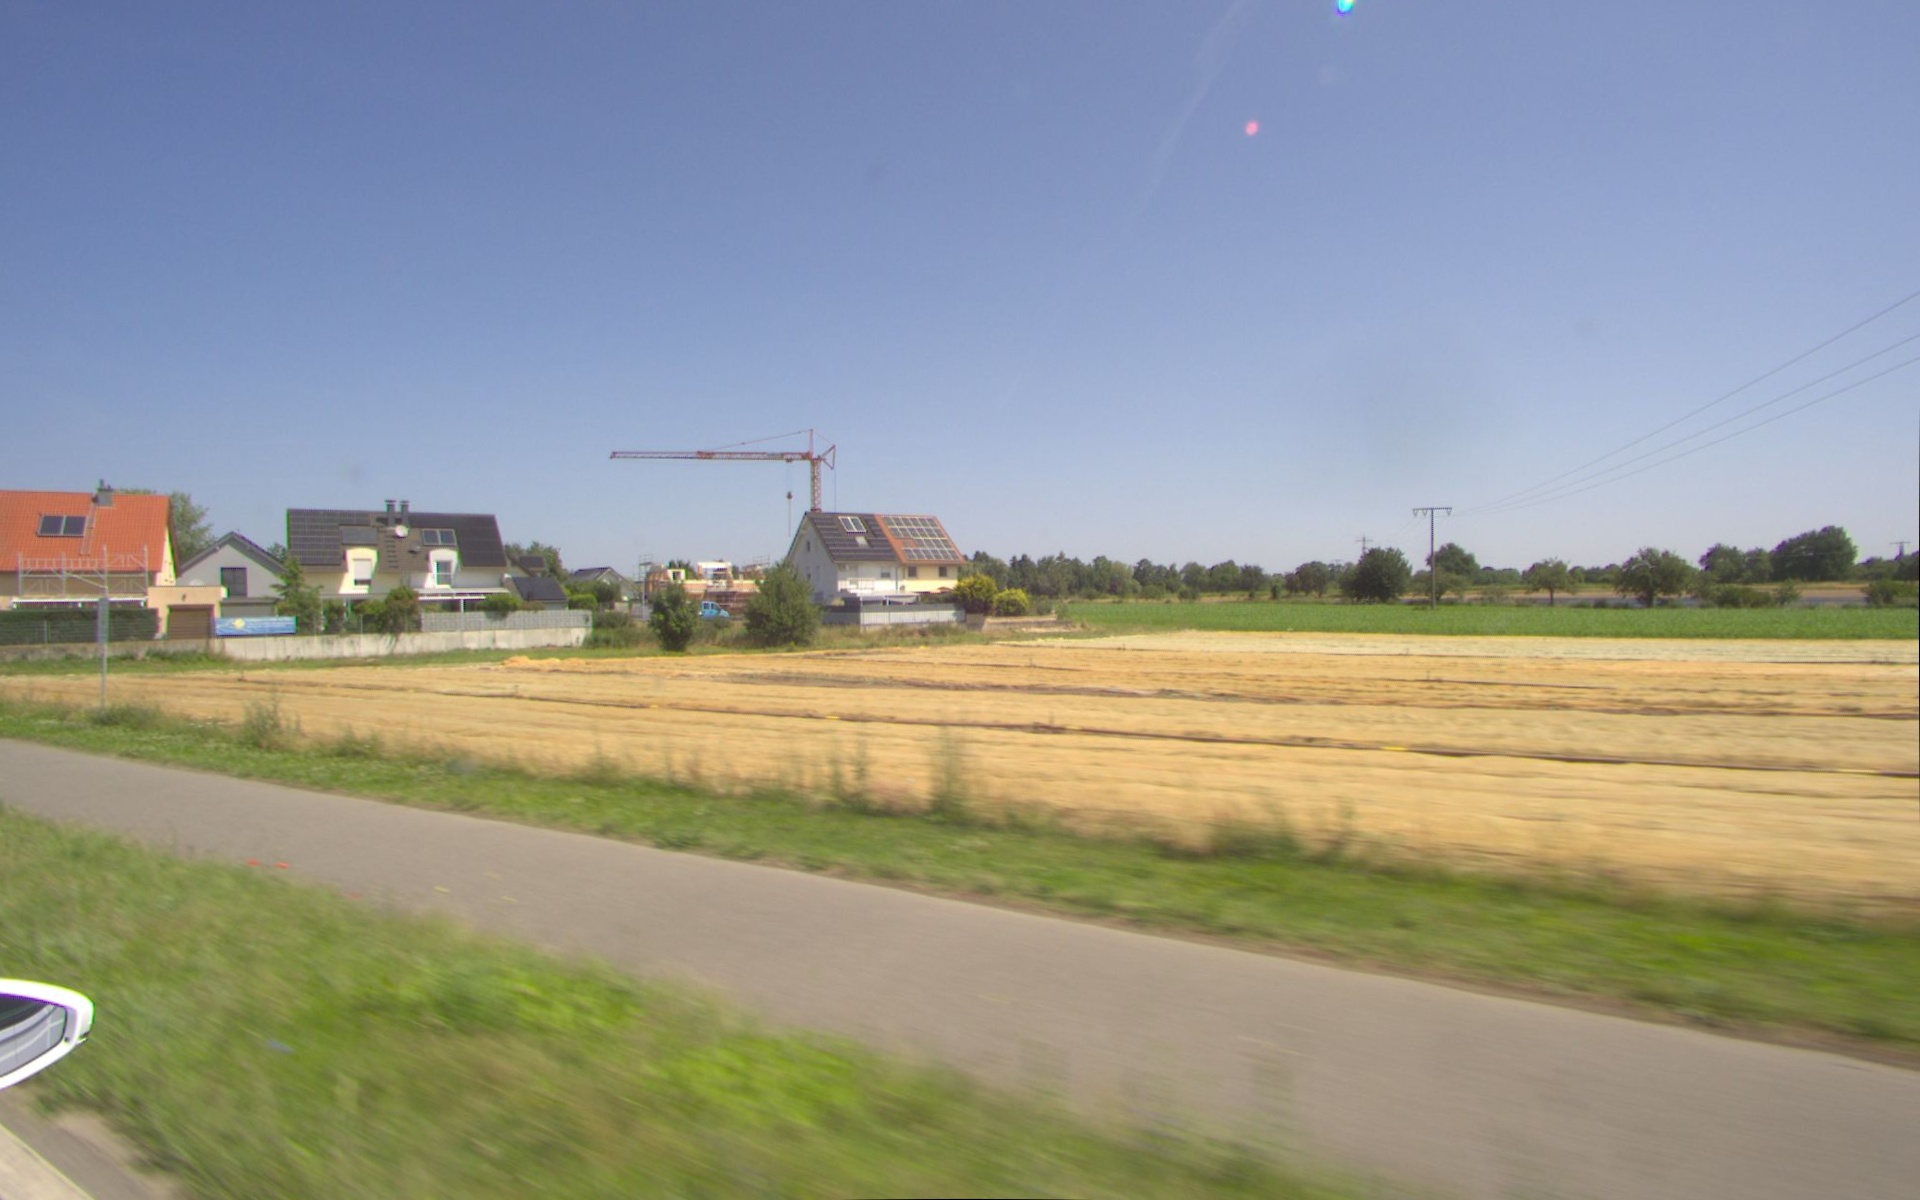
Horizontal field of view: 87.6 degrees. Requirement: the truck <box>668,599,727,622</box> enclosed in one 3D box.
[{"bbox_3d":[-27.125,1.072,103.471,5.496,2.260,2.201,-2,1,-33],"label":"truck"}]
